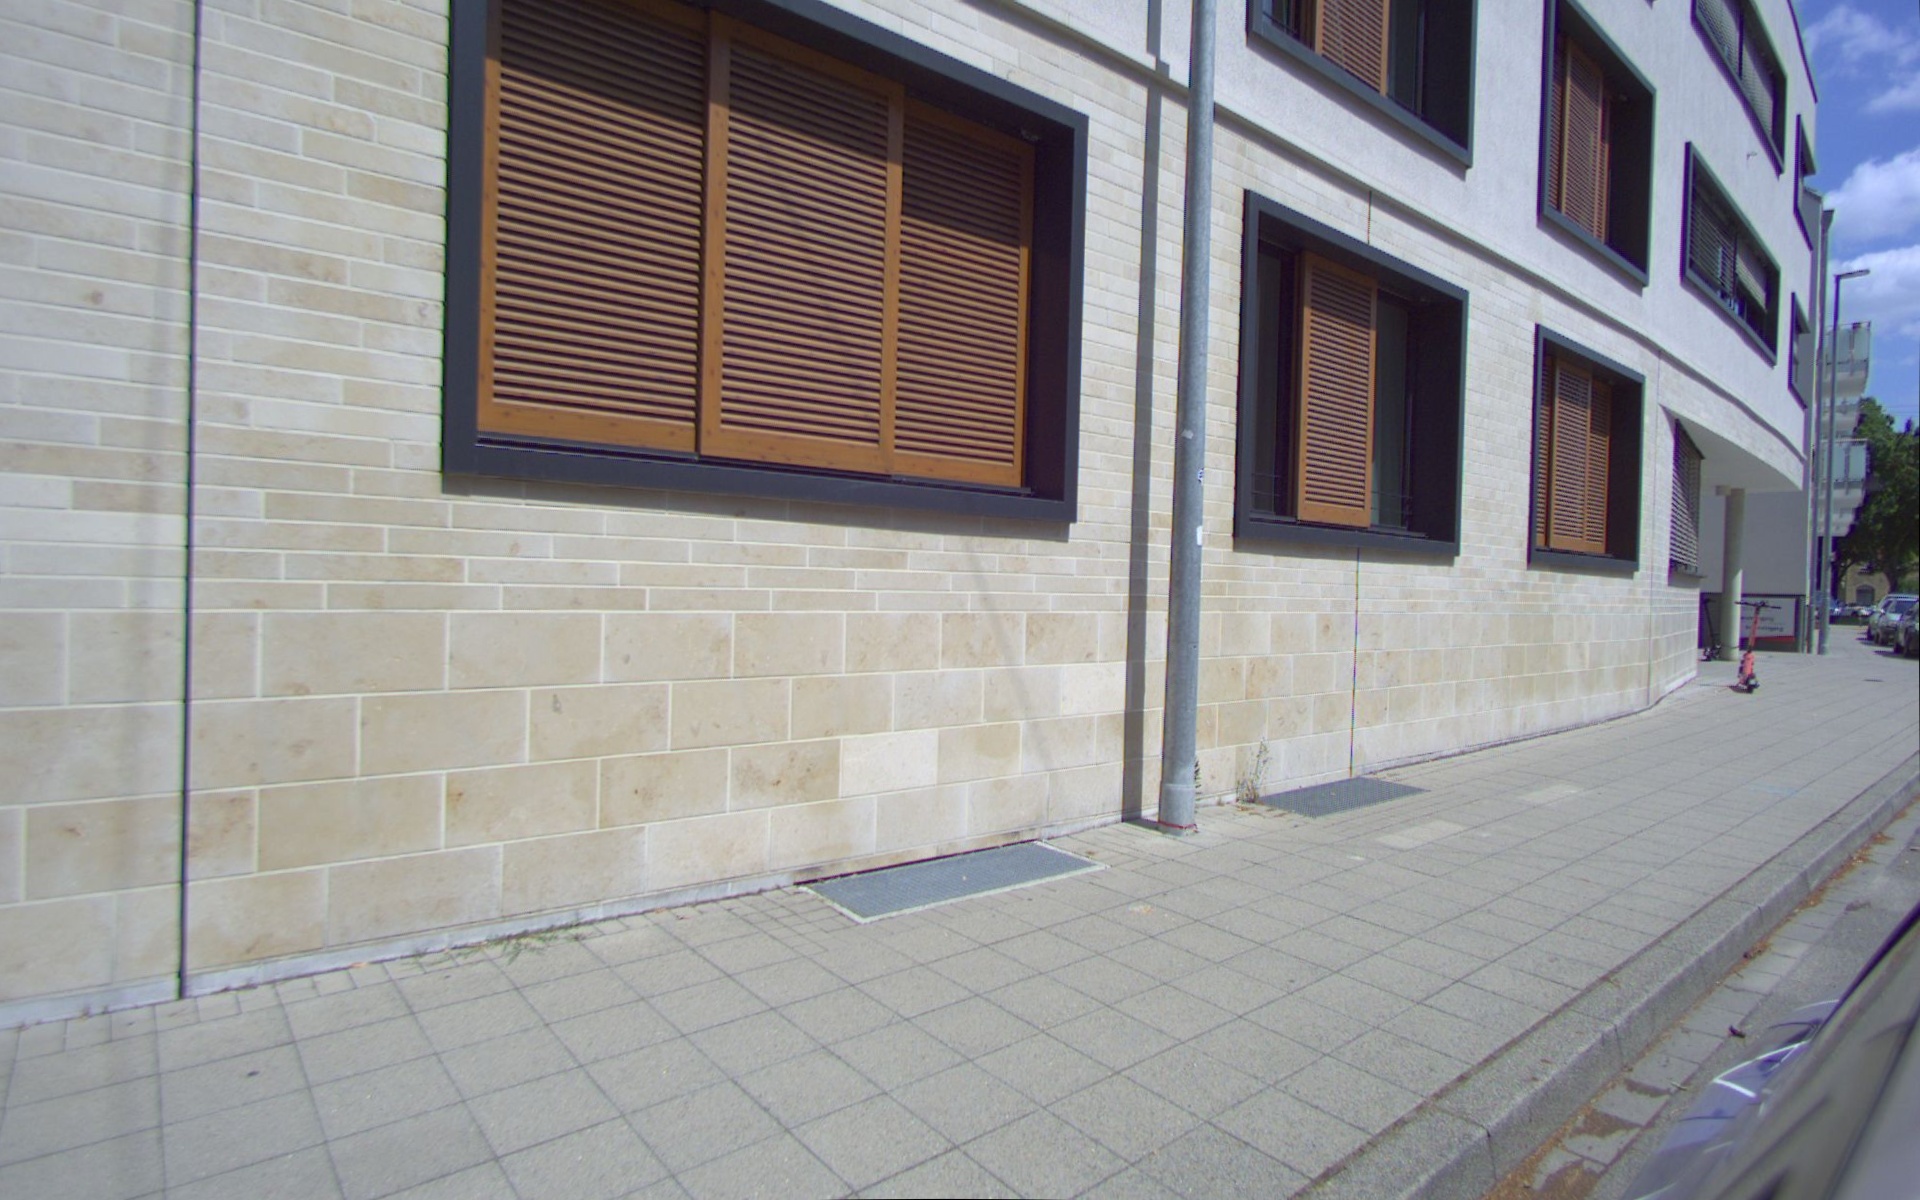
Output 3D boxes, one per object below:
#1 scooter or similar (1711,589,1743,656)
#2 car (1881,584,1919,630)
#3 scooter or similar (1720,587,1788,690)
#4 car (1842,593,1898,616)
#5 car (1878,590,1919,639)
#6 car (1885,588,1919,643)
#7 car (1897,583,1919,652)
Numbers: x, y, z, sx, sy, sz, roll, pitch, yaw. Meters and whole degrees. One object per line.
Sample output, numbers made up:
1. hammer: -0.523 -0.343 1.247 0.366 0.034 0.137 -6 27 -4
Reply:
1. scooter or similar: 14.715 0.415 19.409 0.421 1.226 1.296 2 1 39
2. car: 36.255 0.252 38.245 3.736 1.630 1.730 -1 5 -43
3. scooter or similar: 10.677 0.481 13.597 0.581 1.276 1.347 5 3 41
4. car: 78.431 0.393 87.319 1.749 1.633 3.861 7 3 13
5. car: 31.029 0.467 32.740 1.729 1.450 3.978 7 6 44
6. car: 27.779 0.446 29.024 1.592 1.450 3.653 7 5 40
7. car: 23.518 0.449 23.743 1.798 1.527 4.484 7 5 38
